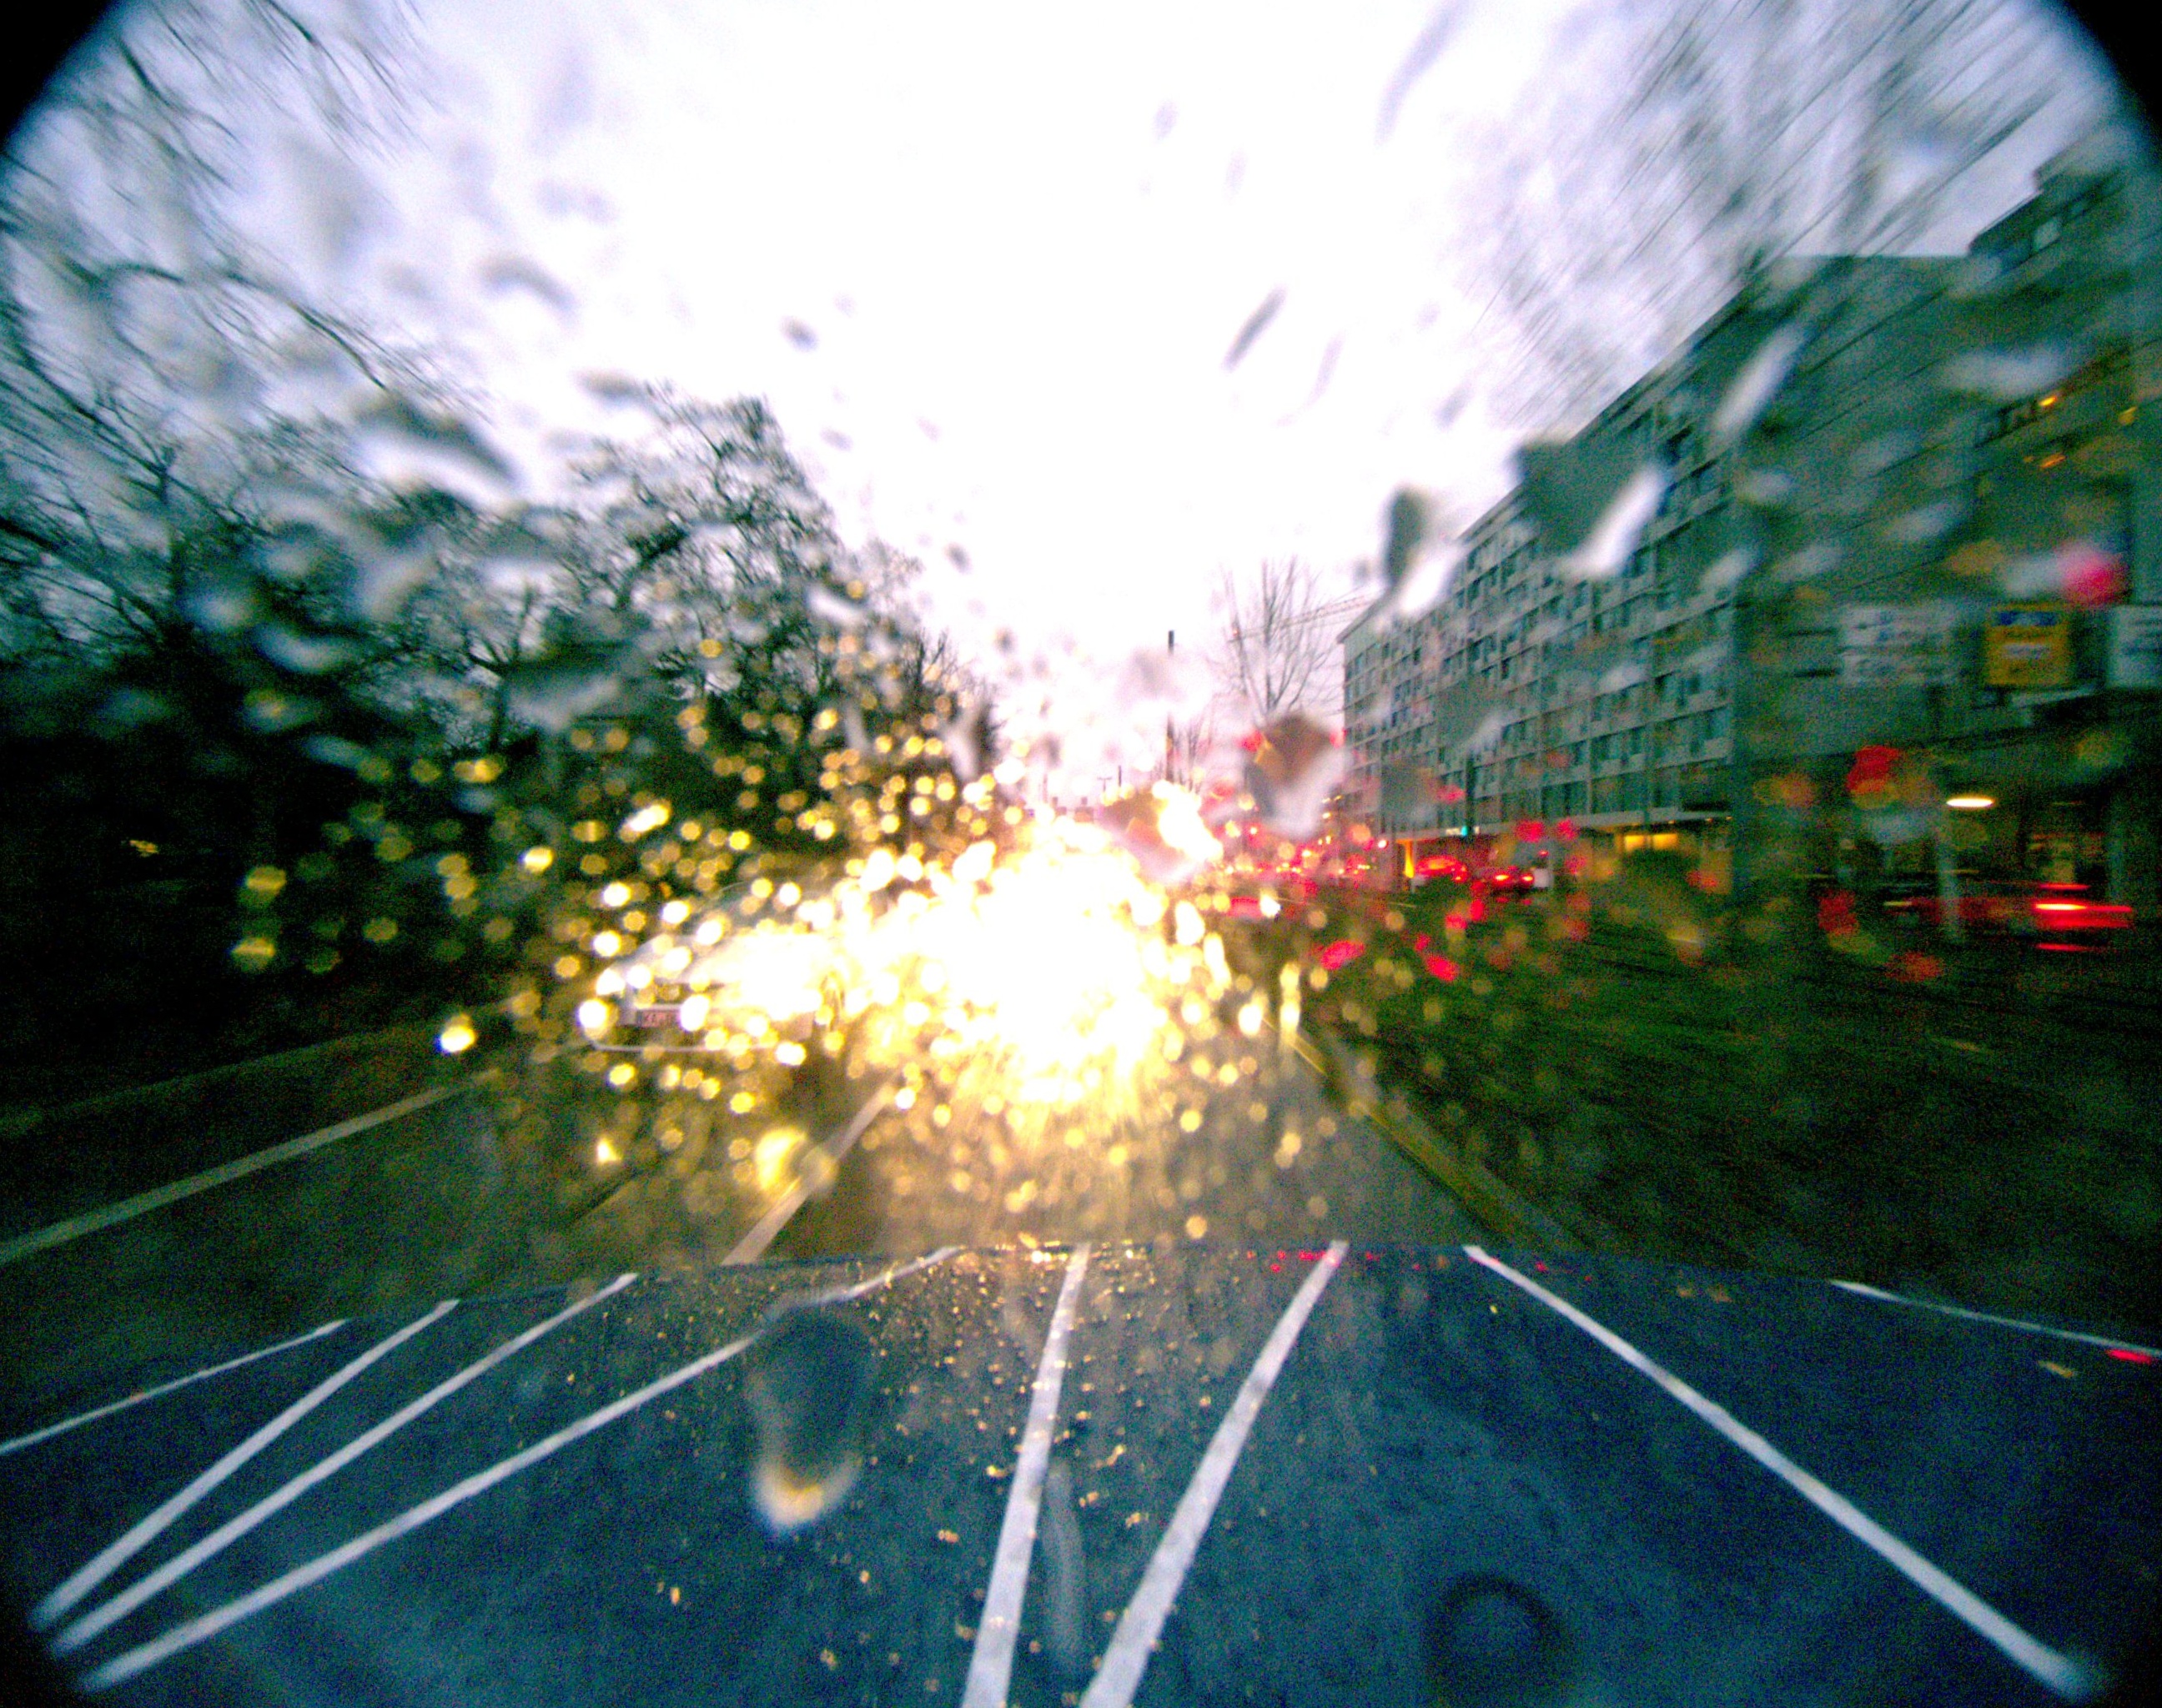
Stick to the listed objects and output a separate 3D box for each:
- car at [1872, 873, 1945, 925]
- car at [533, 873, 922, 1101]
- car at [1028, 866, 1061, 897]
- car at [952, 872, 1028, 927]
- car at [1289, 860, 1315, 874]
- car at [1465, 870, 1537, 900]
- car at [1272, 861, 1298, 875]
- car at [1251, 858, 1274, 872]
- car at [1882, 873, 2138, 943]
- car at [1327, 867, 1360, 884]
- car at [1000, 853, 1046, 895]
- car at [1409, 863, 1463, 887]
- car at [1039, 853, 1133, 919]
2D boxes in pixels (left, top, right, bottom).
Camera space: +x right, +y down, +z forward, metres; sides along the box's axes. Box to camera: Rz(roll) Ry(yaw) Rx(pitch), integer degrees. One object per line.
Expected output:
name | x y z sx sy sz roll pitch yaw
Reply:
car | 29.588 1.545 27.241 3.786 1.608 1.676 0 0 -44
car | -2.892 0.979 7.323 1.778 1.453 4.040 0 1 1
car | -2.076 1.546 43.616 1.679 1.670 3.865 0 0 0
car | -2.811 1.377 24.265 1.880 1.489 4.077 0 1 0
car | 23.843 1.388 82.138 1.596 1.440 3.872 0 0 -1
car | 22.796 1.641 41.424 1.754 1.440 3.872 0 0 -1
car | 21.007 1.422 78.505 1.596 1.440 3.872 0 0 -1
car | 20.708 1.231 86.847 1.596 1.440 3.872 0 0 -1
car | 23.466 1.299 19.458 1.754 1.503 3.890 0 0 -1
car | 23.924 1.964 69.427 1.596 1.440 3.872 0 0 -1
car | -2.470 0.839 33.244 1.679 1.739 3.865 0 0 0
car | 23.755 1.373 50.983 1.754 1.440 3.872 0 0 -1
car | 0.125 0.743 19.519 2.160 1.489 4.007 0 1 0
